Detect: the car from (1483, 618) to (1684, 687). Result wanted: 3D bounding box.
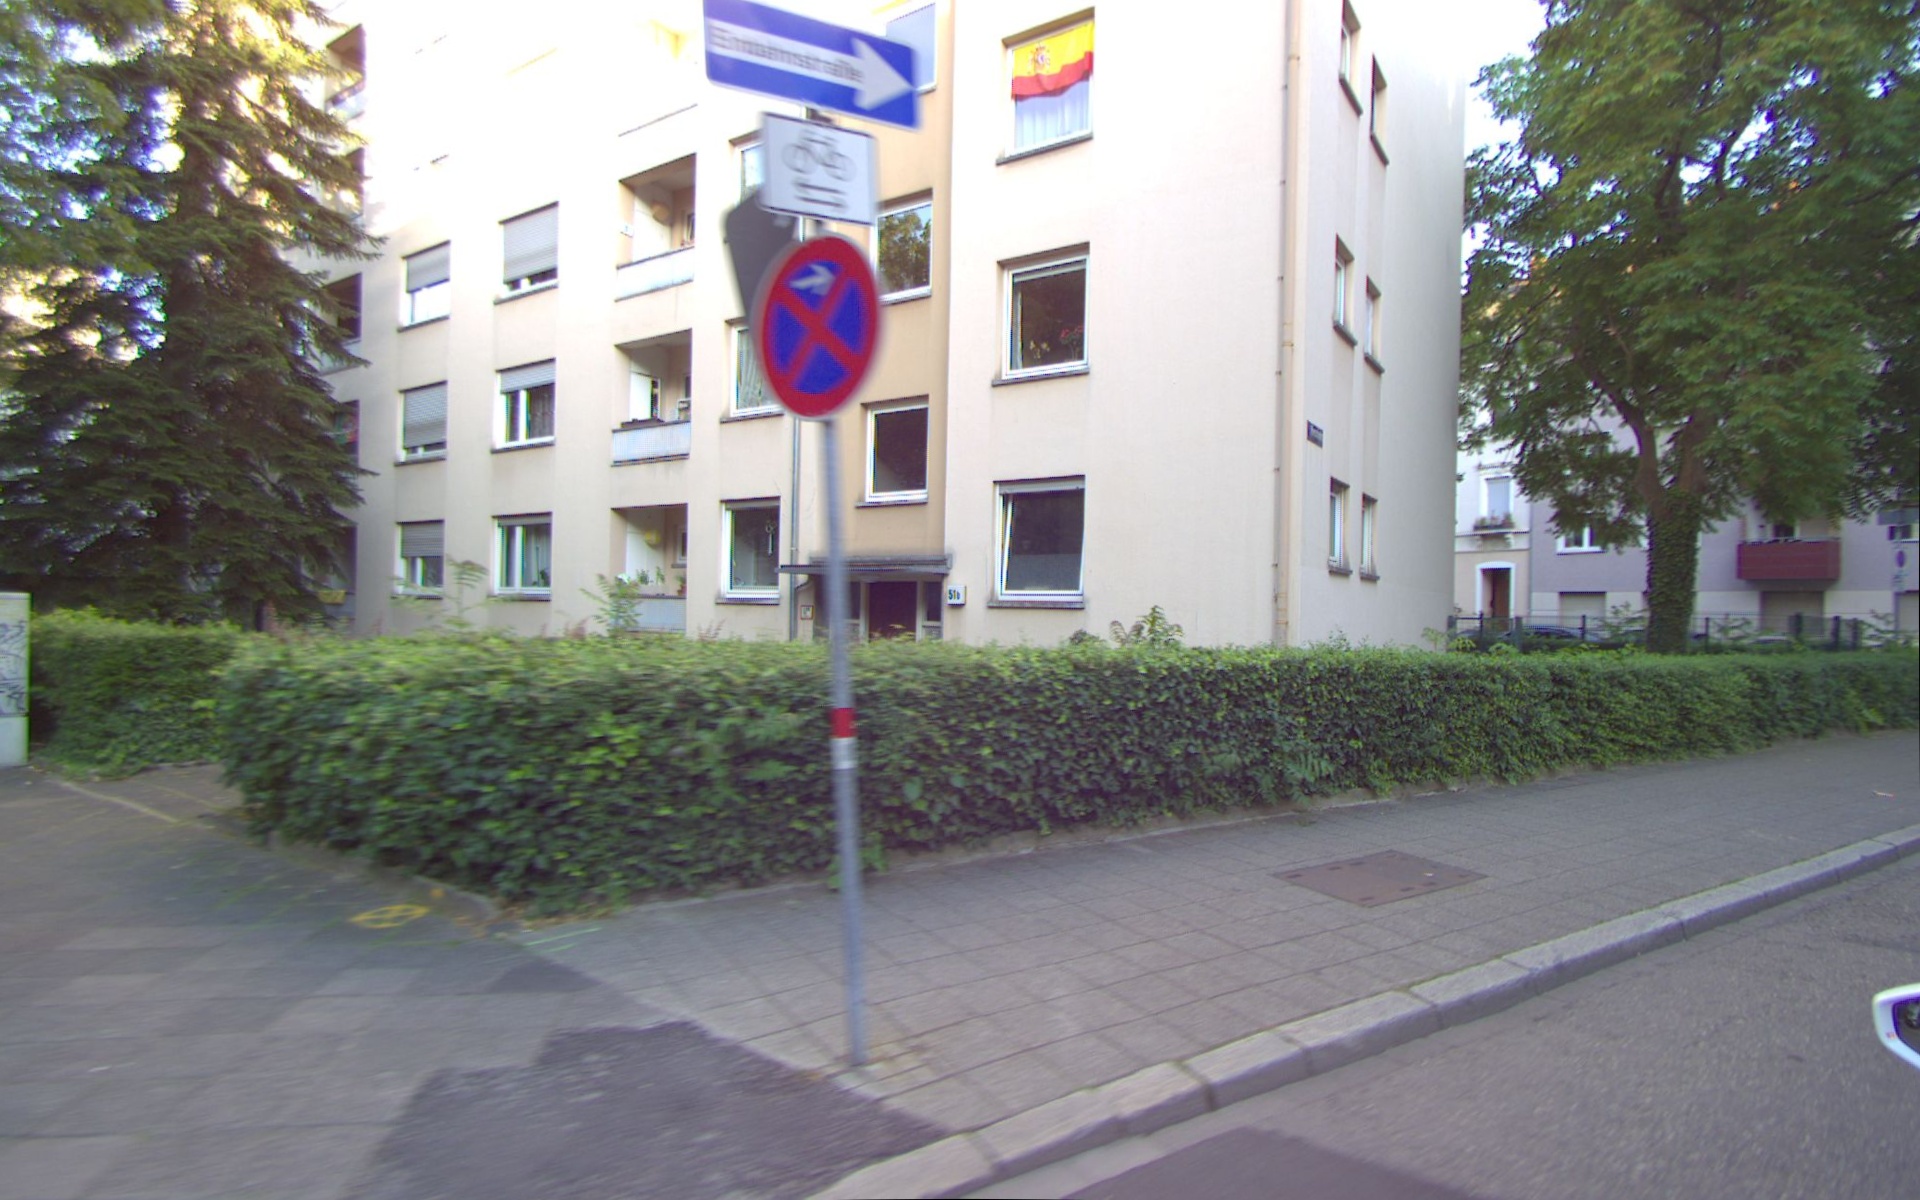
[{"bbox_3d":[17.004,1.366,27.605,1.808,1.662,4.347,1,0,-31],"label":"car"}]
